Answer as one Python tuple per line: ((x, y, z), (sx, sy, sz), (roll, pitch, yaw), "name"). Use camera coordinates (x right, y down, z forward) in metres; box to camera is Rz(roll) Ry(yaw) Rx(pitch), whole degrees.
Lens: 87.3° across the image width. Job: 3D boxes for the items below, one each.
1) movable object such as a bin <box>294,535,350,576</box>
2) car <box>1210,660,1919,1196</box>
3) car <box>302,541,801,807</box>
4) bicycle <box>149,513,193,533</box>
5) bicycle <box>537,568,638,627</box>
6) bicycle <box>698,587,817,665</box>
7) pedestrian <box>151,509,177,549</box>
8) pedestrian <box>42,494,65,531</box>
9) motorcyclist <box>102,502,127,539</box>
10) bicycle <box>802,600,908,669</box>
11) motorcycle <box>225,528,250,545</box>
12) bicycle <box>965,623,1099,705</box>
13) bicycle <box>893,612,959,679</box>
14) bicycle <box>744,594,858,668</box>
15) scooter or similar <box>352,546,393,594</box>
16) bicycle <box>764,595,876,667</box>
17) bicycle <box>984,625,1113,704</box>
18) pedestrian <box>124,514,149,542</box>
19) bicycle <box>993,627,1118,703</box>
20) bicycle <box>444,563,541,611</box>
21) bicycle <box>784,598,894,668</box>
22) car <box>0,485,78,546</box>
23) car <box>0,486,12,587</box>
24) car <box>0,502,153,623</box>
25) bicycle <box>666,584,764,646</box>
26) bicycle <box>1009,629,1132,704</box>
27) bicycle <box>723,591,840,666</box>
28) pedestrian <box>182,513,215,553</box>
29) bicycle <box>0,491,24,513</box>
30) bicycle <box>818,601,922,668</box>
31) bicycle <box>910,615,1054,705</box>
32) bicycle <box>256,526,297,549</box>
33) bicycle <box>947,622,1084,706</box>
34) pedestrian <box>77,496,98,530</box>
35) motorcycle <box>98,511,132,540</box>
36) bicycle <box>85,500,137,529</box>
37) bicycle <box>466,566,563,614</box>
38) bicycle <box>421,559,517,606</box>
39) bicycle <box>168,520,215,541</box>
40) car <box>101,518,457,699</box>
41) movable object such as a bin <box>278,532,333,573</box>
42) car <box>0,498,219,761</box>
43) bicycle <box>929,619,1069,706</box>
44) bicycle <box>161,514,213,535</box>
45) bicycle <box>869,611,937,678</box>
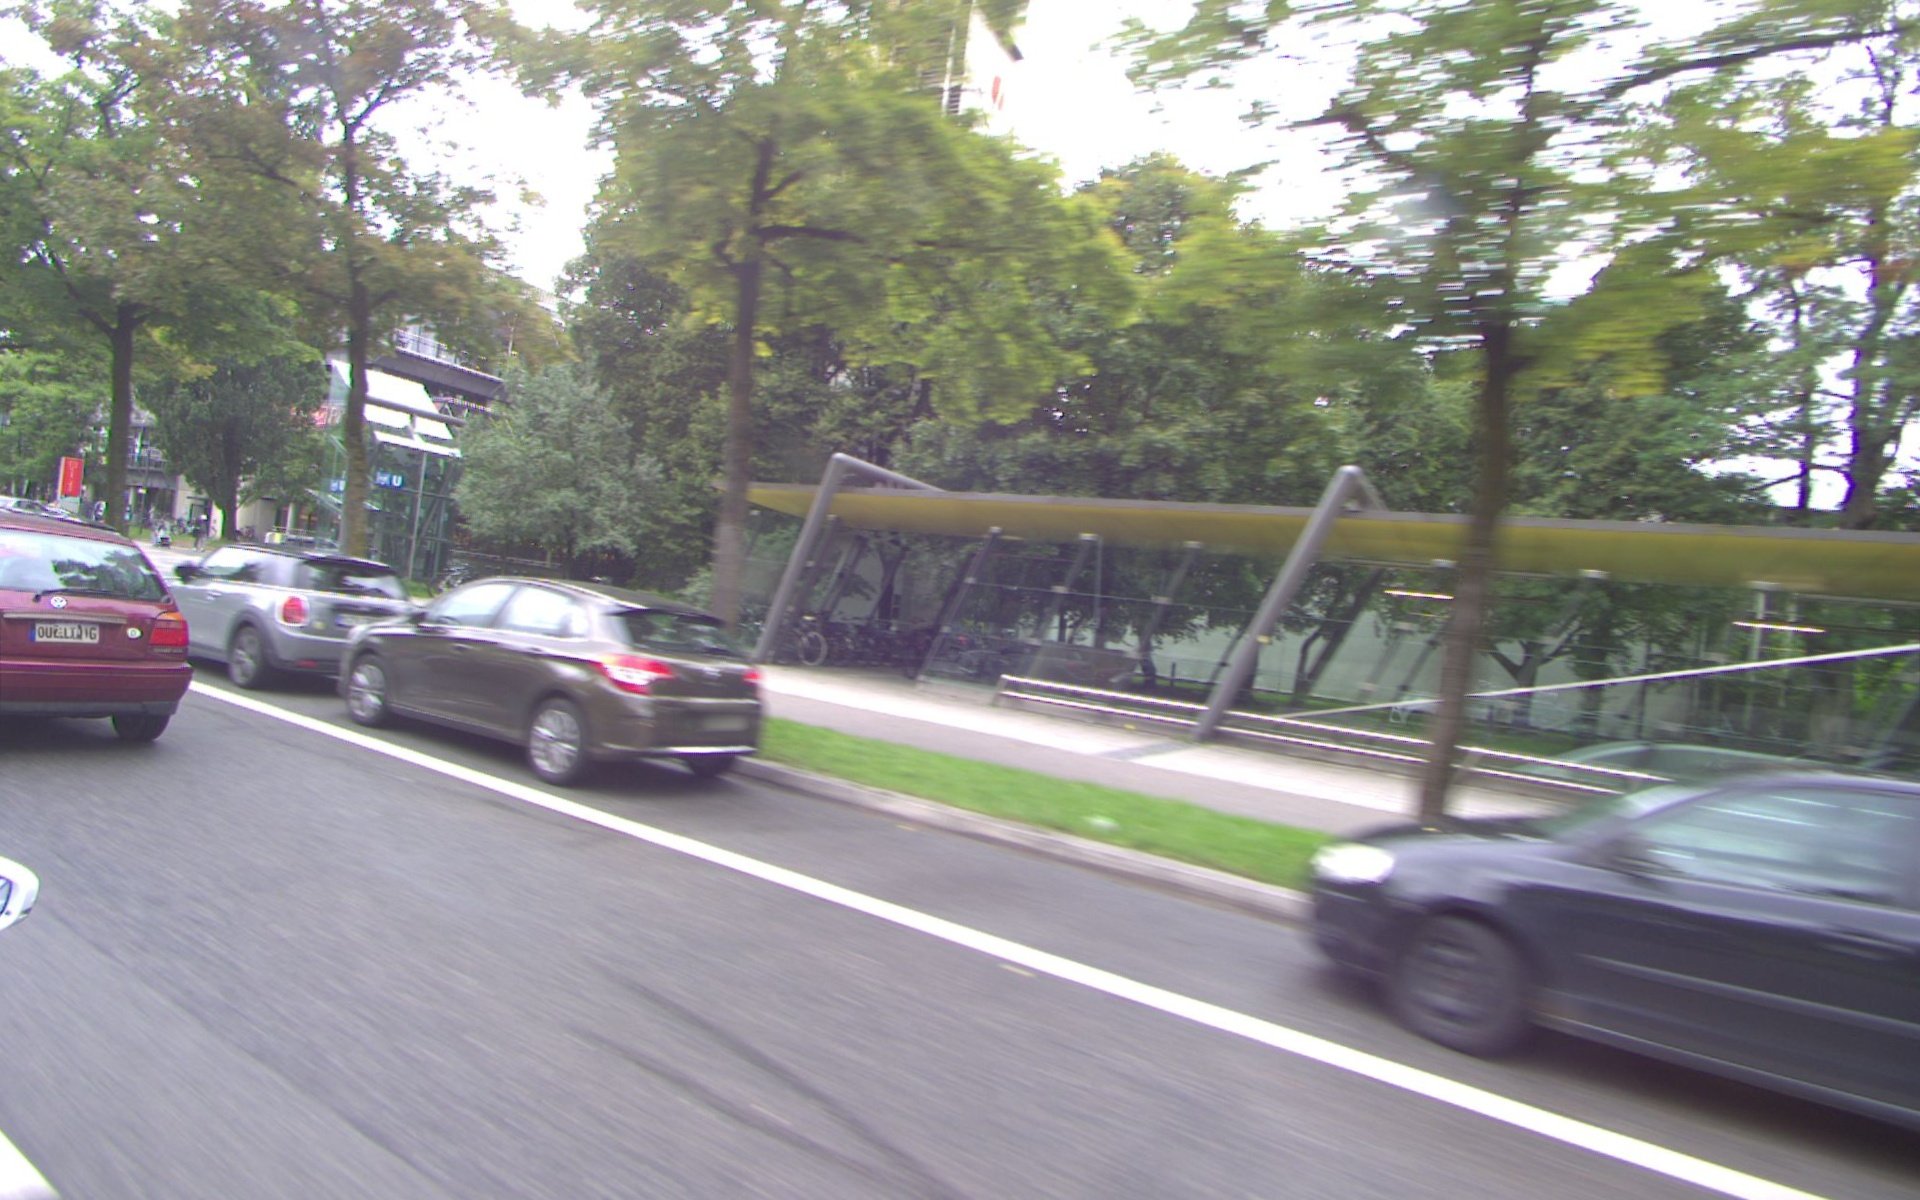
((-25.865, -1.809, 40.811), (1.292, 1.426, 1.339), (7, -1, 30), "movable object such as a bin")
((3.394, 1.357, 4.455), (4.022, 1.551, 1.547), (7, -3, 31), "car")
((-3.595, 0.514, 8.643), (4.153, 1.526, 1.720), (7, -1, 31), "car")
((-50.842, -4.948, 64.824), (0.734, 0.969, 2.045), (7, -1, 30), "bicycle")
((-9.817, -0.040, 26.656), (0.636, 1.296, 2.546), (7, -1, 31), "bicycle")
((-4.205, 0.530, 20.786), (2.508, 1.296, 0.646), (7, 0, 32), "bicycle")
((-36.523, -3.266, 46.142), (0.971, 1.744, 0.539), (7, 2, 31), "pedestrian")
((-46.286, -4.457, 51.363), (0.720, 1.772, 0.575), (7, 0, 36), "pedestrian")
((-43.318, -4.061, 51.540), (0.937, 1.761, 0.691), (7, 4, 31), "motorcyclist")
((-2.491, 0.799, 23.693), (2.508, 1.296, 0.605), (7, 0, 32), "bicycle")
((-46.822, -4.108, 65.213), (1.545, 0.876, 0.852), (7, -1, 39), "motorcycle")
((1.413, 1.253, 20.017), (2.508, 1.296, 0.646), (7, 0, 32), "bicycle")
((-0.693, 0.982, 21.470), (0.483, 1.296, 2.552), (7, -1, 16), "bicycle")
((-3.494, 0.665, 21.982), (2.508, 1.296, 0.646), (7, 0, 32), "bicycle")
((-17.059, -0.865, 29.207), (1.217, 1.247, 0.420), (7, -1, 34), "scooter or similar")
((-3.158, 0.685, 22.565), (2.508, 1.296, 0.646), (7, 0, 32), "bicycle")
((1.795, 1.307, 20.681), (2.508, 1.296, 0.646), (7, 0, 32), "bicycle")
((-41.770, -3.672, 51.031), (0.721, 1.307, 0.697), (6, 2, 22), "pedestrian")
((2.009, 1.369, 21.426), (2.508, 1.296, 0.646), (7, 0, 32), "bicycle")
((-13.570, -0.368, 29.278), (0.636, 1.102, 2.546), (7, -1, 31), "bicycle")
((-2.803, 0.752, 23.128), (2.508, 1.296, 0.646), (7, 0, 32), "bicycle")
((-29.784, -2.720, 31.157), (1.947, 1.643, 4.825), (8, -2, -21), "car")
((-18.513, -1.370, 17.412), (4.518, 1.695, 1.790), (7, -1, 31), "car")
((-13.948, -0.675, 14.889), (4.232, 1.456, 1.636), (7, -1, 30), "car")
((-6.048, 0.409, 24.989), (0.636, 1.296, 2.546), (7, -1, 31), "bicycle")
((2.390, 1.448, 22.015), (2.508, 1.296, 0.646), (7, 0, 32), "bicycle")
((-3.816, 0.594, 21.389), (2.508, 1.296, 0.646), (7, 0, 32), "bicycle")
((-35.181, -3.091, 46.482), (0.924, 1.744, 0.828), (7, 2, 31), "pedestrian")
((-76.670, -7.935, 80.285), (0.784, 1.526, 2.617), (7, -1, 25), "bicycle")
((-2.184, 0.817, 24.240), (2.508, 1.296, 0.605), (7, 0, 32), "bicycle")
((0.370, 1.079, 18.309), (2.508, 1.296, 0.646), (7, 0, 32), "bicycle")
((-45.403, -4.130, 66.850), (0.577, 1.219, 2.142), (7, -1, 29), "bicycle")
((1.049, 1.219, 19.489), (2.508, 1.296, 0.646), (7, 0, 32), "bicycle")
((-48.142, -4.817, 55.514), (0.720, 1.772, 0.575), (7, 0, 36), "pedestrian")
((-43.279, -3.819, 51.524), (2.032, 1.309, 0.695), (7, 4, 31), "motorcycle")
((-58.495, -5.885, 69.354), (0.783, 1.526, 2.619), (7, -1, 18), "bicycle")
((-12.676, -0.262, 28.732), (0.636, 1.102, 2.546), (7, -1, 31), "bicycle")
((-14.572, -0.488, 29.926), (0.636, 1.102, 2.546), (7, -1, 31), "bicycle")
((-46.379, -4.190, 60.742), (2.016, 0.969, 0.744), (8, 0, -15), "bicycle")
((-7.592, 0.066, 11.128), (4.010, 1.471, 1.637), (7, -1, 31), "car")
((-27.001, -1.943, 41.486), (1.292, 1.426, 1.339), (7, -1, 30), "movable object such as a bin")
((-6.920, -0.004, 6.777), (3.883, 1.471, 1.625), (7, -1, 31), "car")
((0.710, 1.149, 18.884), (2.508, 1.296, 0.646), (7, 0, 32), "bicycle")
((-47.362, -4.635, 61.666), (2.366, 0.880, 0.769), (8, -1, -15), "bicycle")
((-1.192, 0.972, 21.628), (0.483, 1.296, 2.552), (7, -1, 16), "bicycle")
